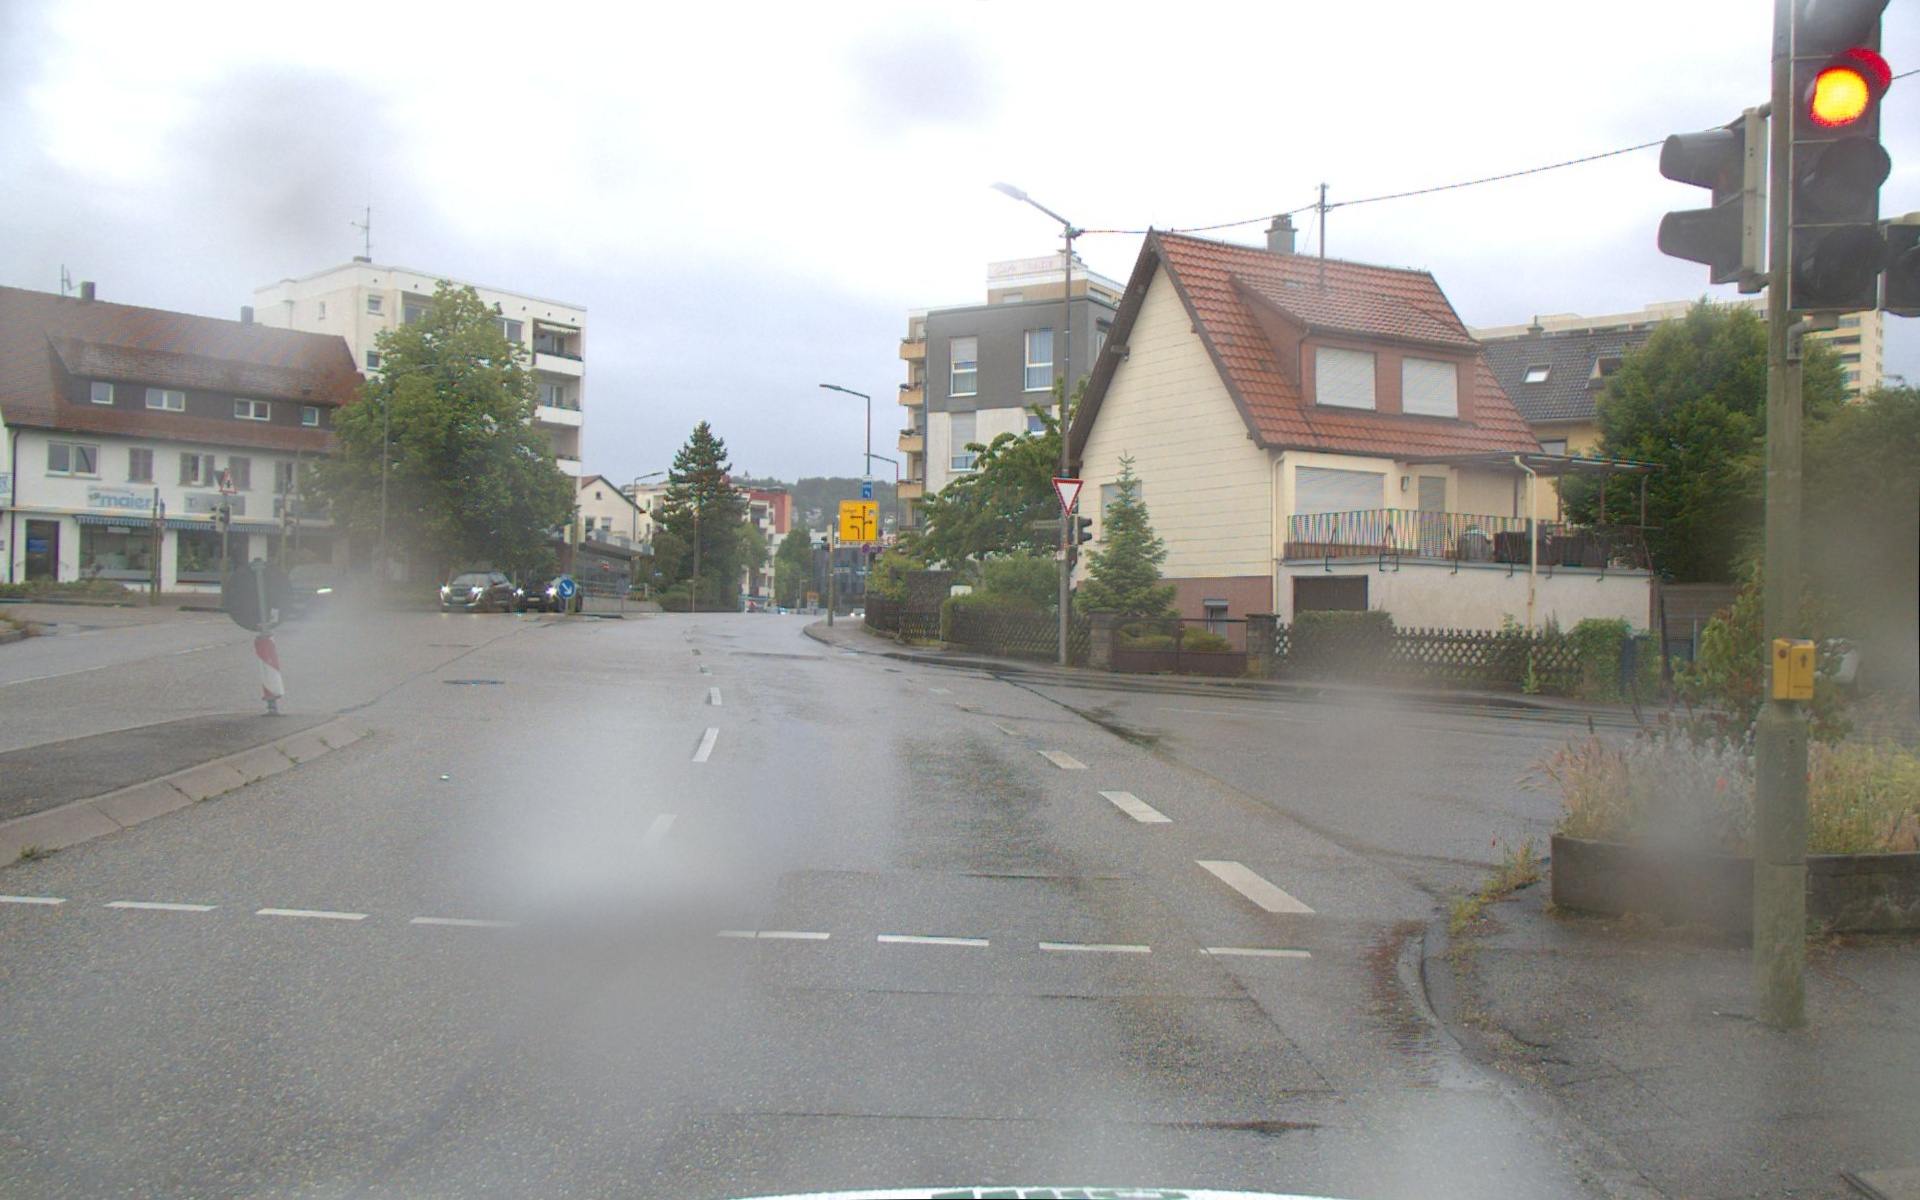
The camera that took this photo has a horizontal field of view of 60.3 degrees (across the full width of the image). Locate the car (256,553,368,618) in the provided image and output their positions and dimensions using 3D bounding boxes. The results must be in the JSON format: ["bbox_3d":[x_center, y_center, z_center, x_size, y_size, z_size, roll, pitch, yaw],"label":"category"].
[{"bbox_3d":[-17.488,-0.376,44.539,1.975,1.653,4.488,1,0,-32],"label":"car"}]

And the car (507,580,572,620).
[{"bbox_3d":[-17.829,0.017,70.302,1.841,1.625,4.182,1,0,-2],"label":"car"}]

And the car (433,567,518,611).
[{"bbox_3d":[-17.922,-0.391,61.306,1.927,1.538,4.000,1,0,0],"label":"car"}]

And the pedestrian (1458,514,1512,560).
[{"bbox_3d":[11.154,-1.337,35.176,0.902,0.898,0.632,1,-2,-20],"label":"pedestrian"}]

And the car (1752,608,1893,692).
[{"bbox_3d":[15.625,0.862,29.875,1.780,1.386,3.986,1,0,35],"label":"car"}]
